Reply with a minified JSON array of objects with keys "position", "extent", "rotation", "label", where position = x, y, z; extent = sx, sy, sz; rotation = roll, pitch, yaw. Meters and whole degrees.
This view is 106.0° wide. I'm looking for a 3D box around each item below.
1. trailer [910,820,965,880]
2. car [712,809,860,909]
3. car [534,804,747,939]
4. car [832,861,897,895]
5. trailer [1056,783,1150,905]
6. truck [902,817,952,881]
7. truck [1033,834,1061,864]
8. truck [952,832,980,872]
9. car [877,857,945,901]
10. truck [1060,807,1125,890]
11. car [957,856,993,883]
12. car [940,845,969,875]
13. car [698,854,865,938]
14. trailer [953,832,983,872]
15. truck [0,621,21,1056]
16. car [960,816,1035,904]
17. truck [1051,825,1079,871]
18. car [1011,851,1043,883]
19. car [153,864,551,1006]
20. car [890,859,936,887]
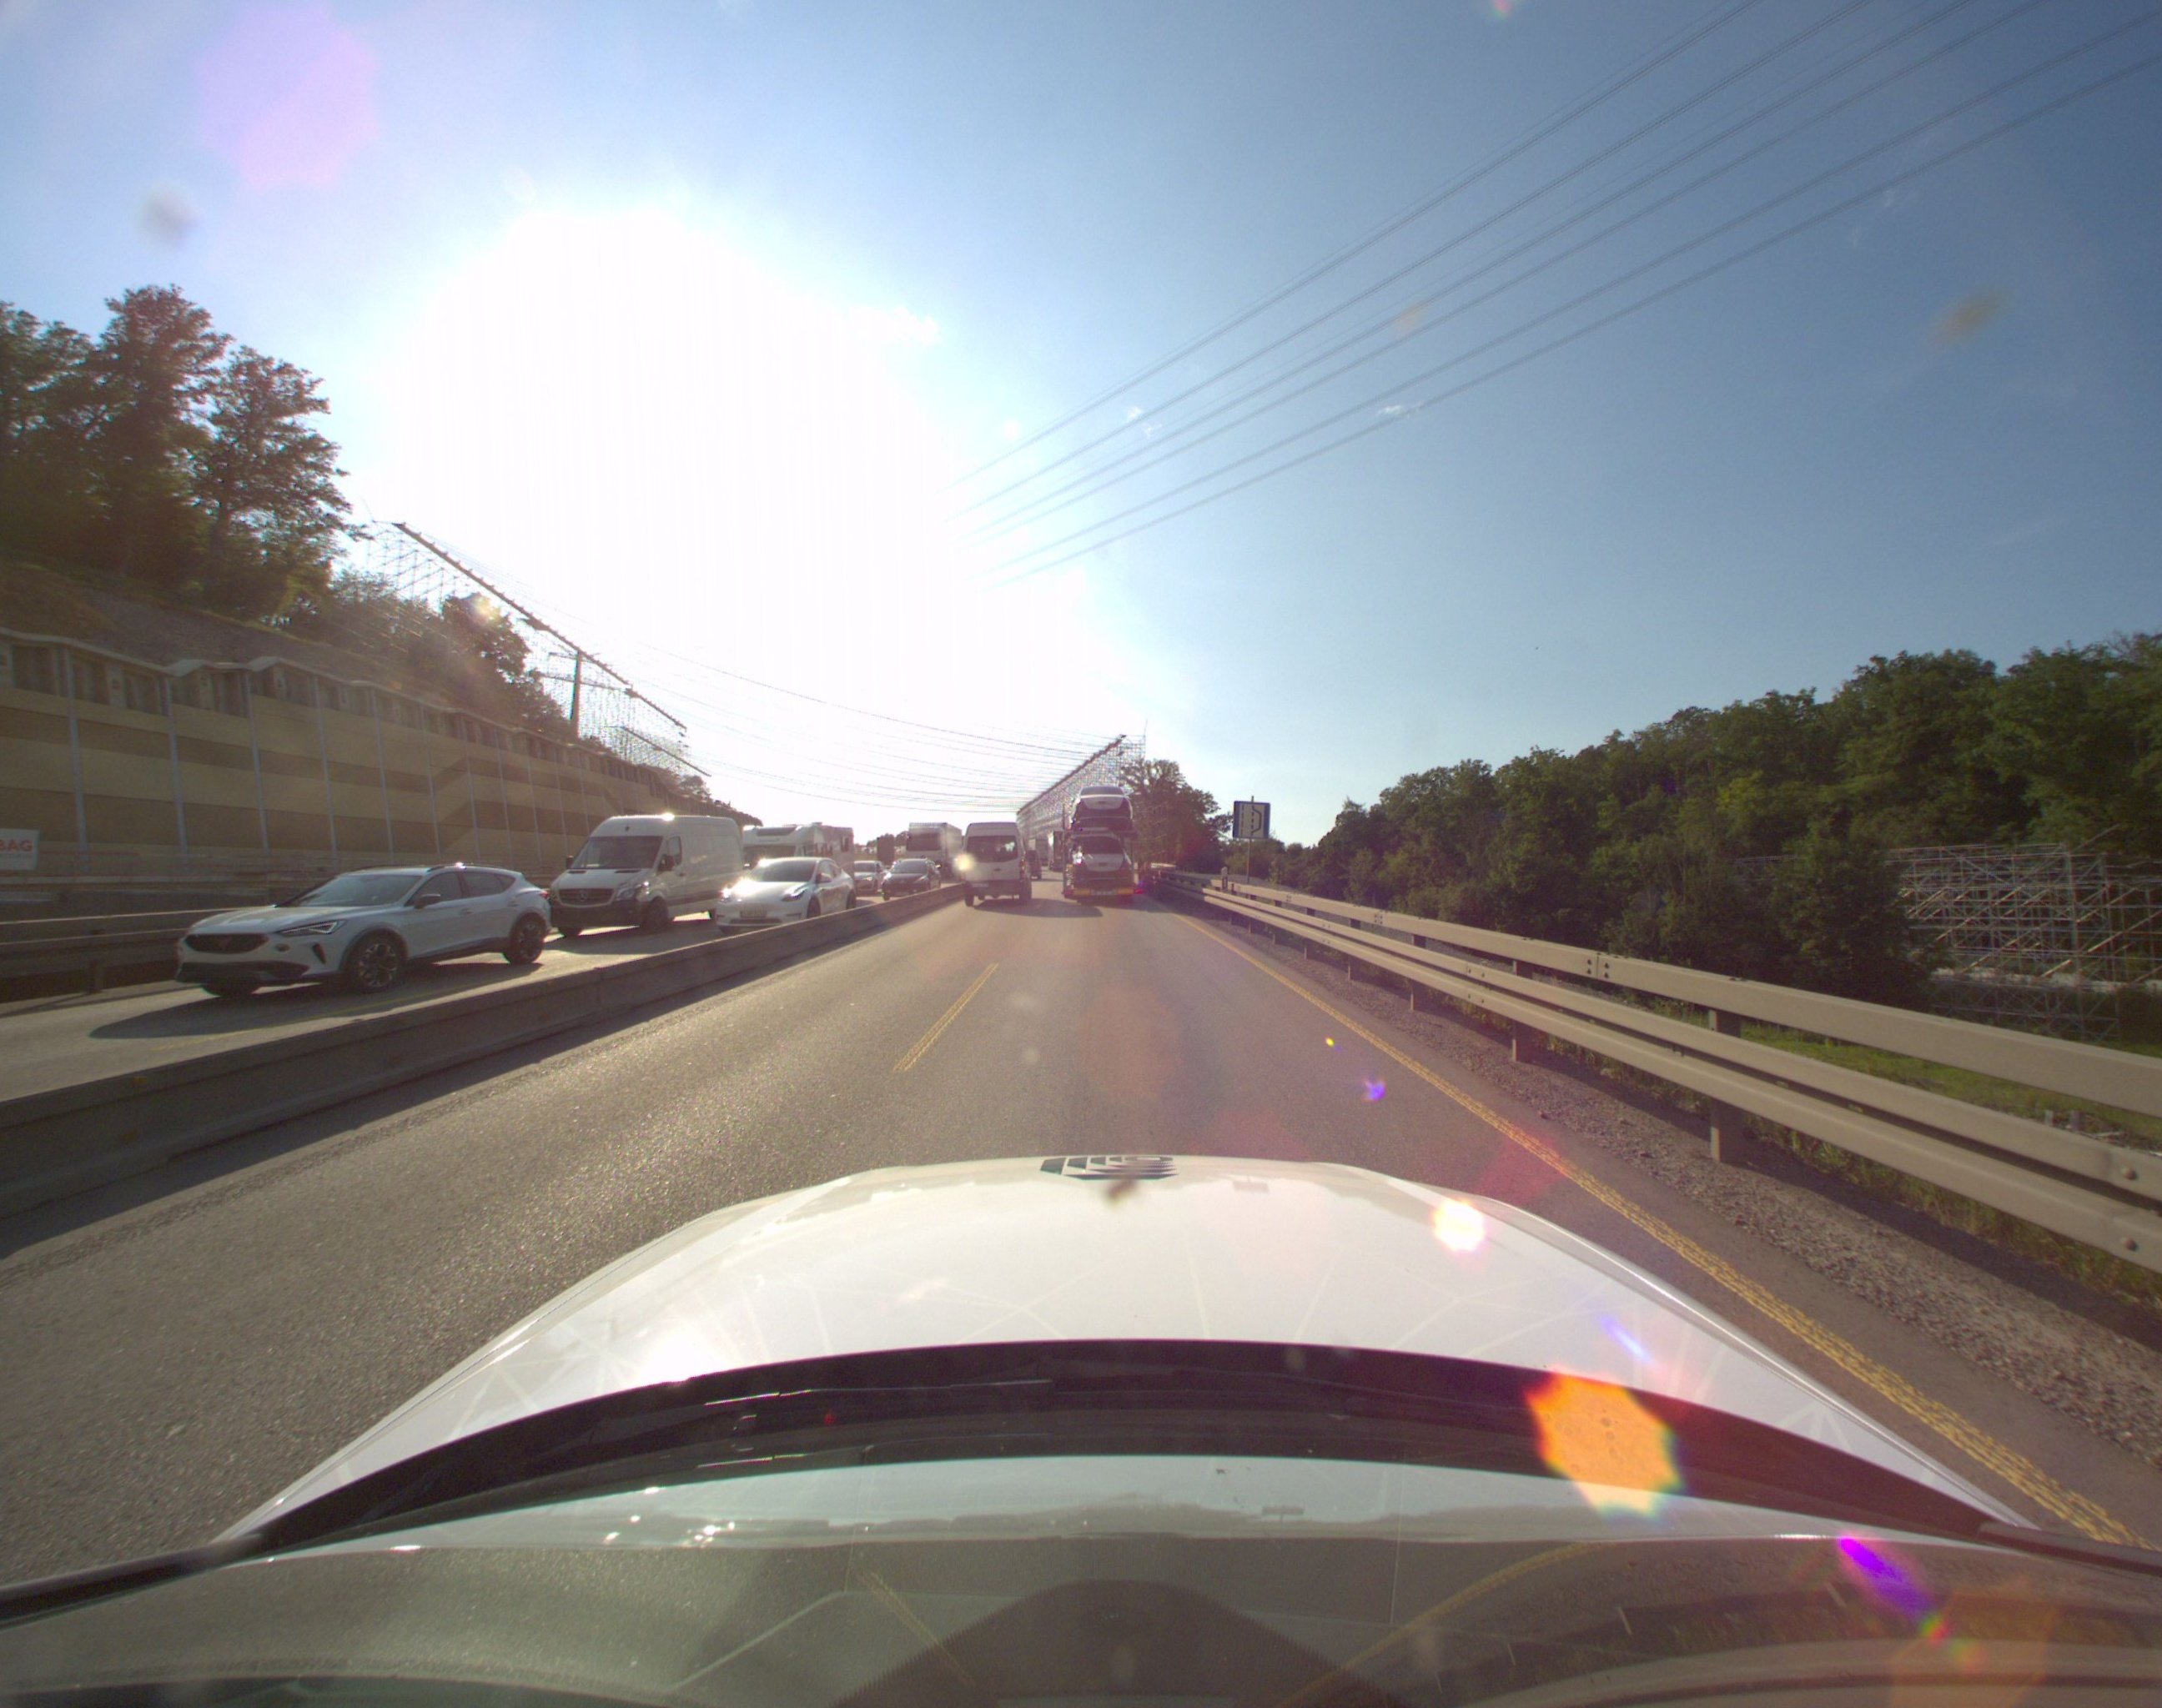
[{"position":[-11.193,-0.244,64.694],"extent":[2.715,4.218,13.729],"rotation":[-1,0,-4],"label":"trailer"},{"position":[-9.862,0.197,28.171],"extent":[2.327,2.918,7.630],"rotation":[-2,-1,0],"label":"car"},{"position":[-9.923,0.369,19.046],"extent":[1.951,2.621,5.744],"rotation":[-2,-1,-2],"label":"car"},{"position":[-9.567,1.028,36.285],"extent":[1.744,1.422,4.607],"rotation":[0,-1,-1],"label":"car"},{"position":[0.579,-0.271,32.622],"extent":[2.860,3.725,14.940],"rotation":[-1,0,-1],"label":"trailer"},{"position":[-10.702,-0.297,57.084],"extent":[2.707,4.218,5.674],"rotation":[-1,0,-4],"label":"truck"},{"position":[-5.504,-0.825,129.761],"extent":[3.681,4.220,13.646],"rotation":[-4,1,-5],"label":"truck"},{"position":[-12.614,-0.202,89.702],"extent":[2.741,4.300,5.922],"rotation":[-1,0,-6],"label":"truck"},{"position":[-6.444,0.906,31.319],"extent":[1.776,1.521,3.999],"rotation":[1,1,0],"label":"car"},{"position":[0.500,-0.218,40.380],"extent":[2.873,3.702,7.323],"rotation":[-1,0,0],"label":"truck"},{"position":[-7.055,1.000,54.533],"extent":[1.812,1.579,4.753],"rotation":[-3,1,-1],"label":"car"},{"position":[-11.864,0.523,76.778],"extent":[2.017,2.690,6.941],"rotation":[0,1,-3],"label":"car"},{"position":[-6.616,0.830,18.655],"extent":[2.052,1.486,4.724],"rotation":[-4,1,-1],"label":"car"},{"position":[-13.259,-0.140,96.491],"extent":[2.762,4.334,13.853],"rotation":[-1,0,-5],"label":"trailer"},{"position":[-9.846,-0.121,2.782],"extent":[2.439,3.463,7.616],"rotation":[-1,0,0],"label":"truck"},{"position":[-2.664,0.216,26.815],"extent":[1.950,2.621,3.999],"rotation":[-2,-1,0],"label":"car"},{"position":[-1.758,-0.620,84.133],"extent":[2.725,4.385,11.511],"rotation":[0,0,-2],"label":"truck"},{"position":[-3.596,0.860,54.120],"extent":[1.991,2.014,3.992],"rotation":[0,-1,-6],"label":"car"},{"position":[-9.331,0.911,10.979],"extent":[1.758,1.523,4.001],"rotation":[-1,0,0],"label":"car"},{"position":[-9.489,1.033,46.260],"extent":[1.738,1.460,4.710],"rotation":[-1,0,-2],"label":"car"}]
